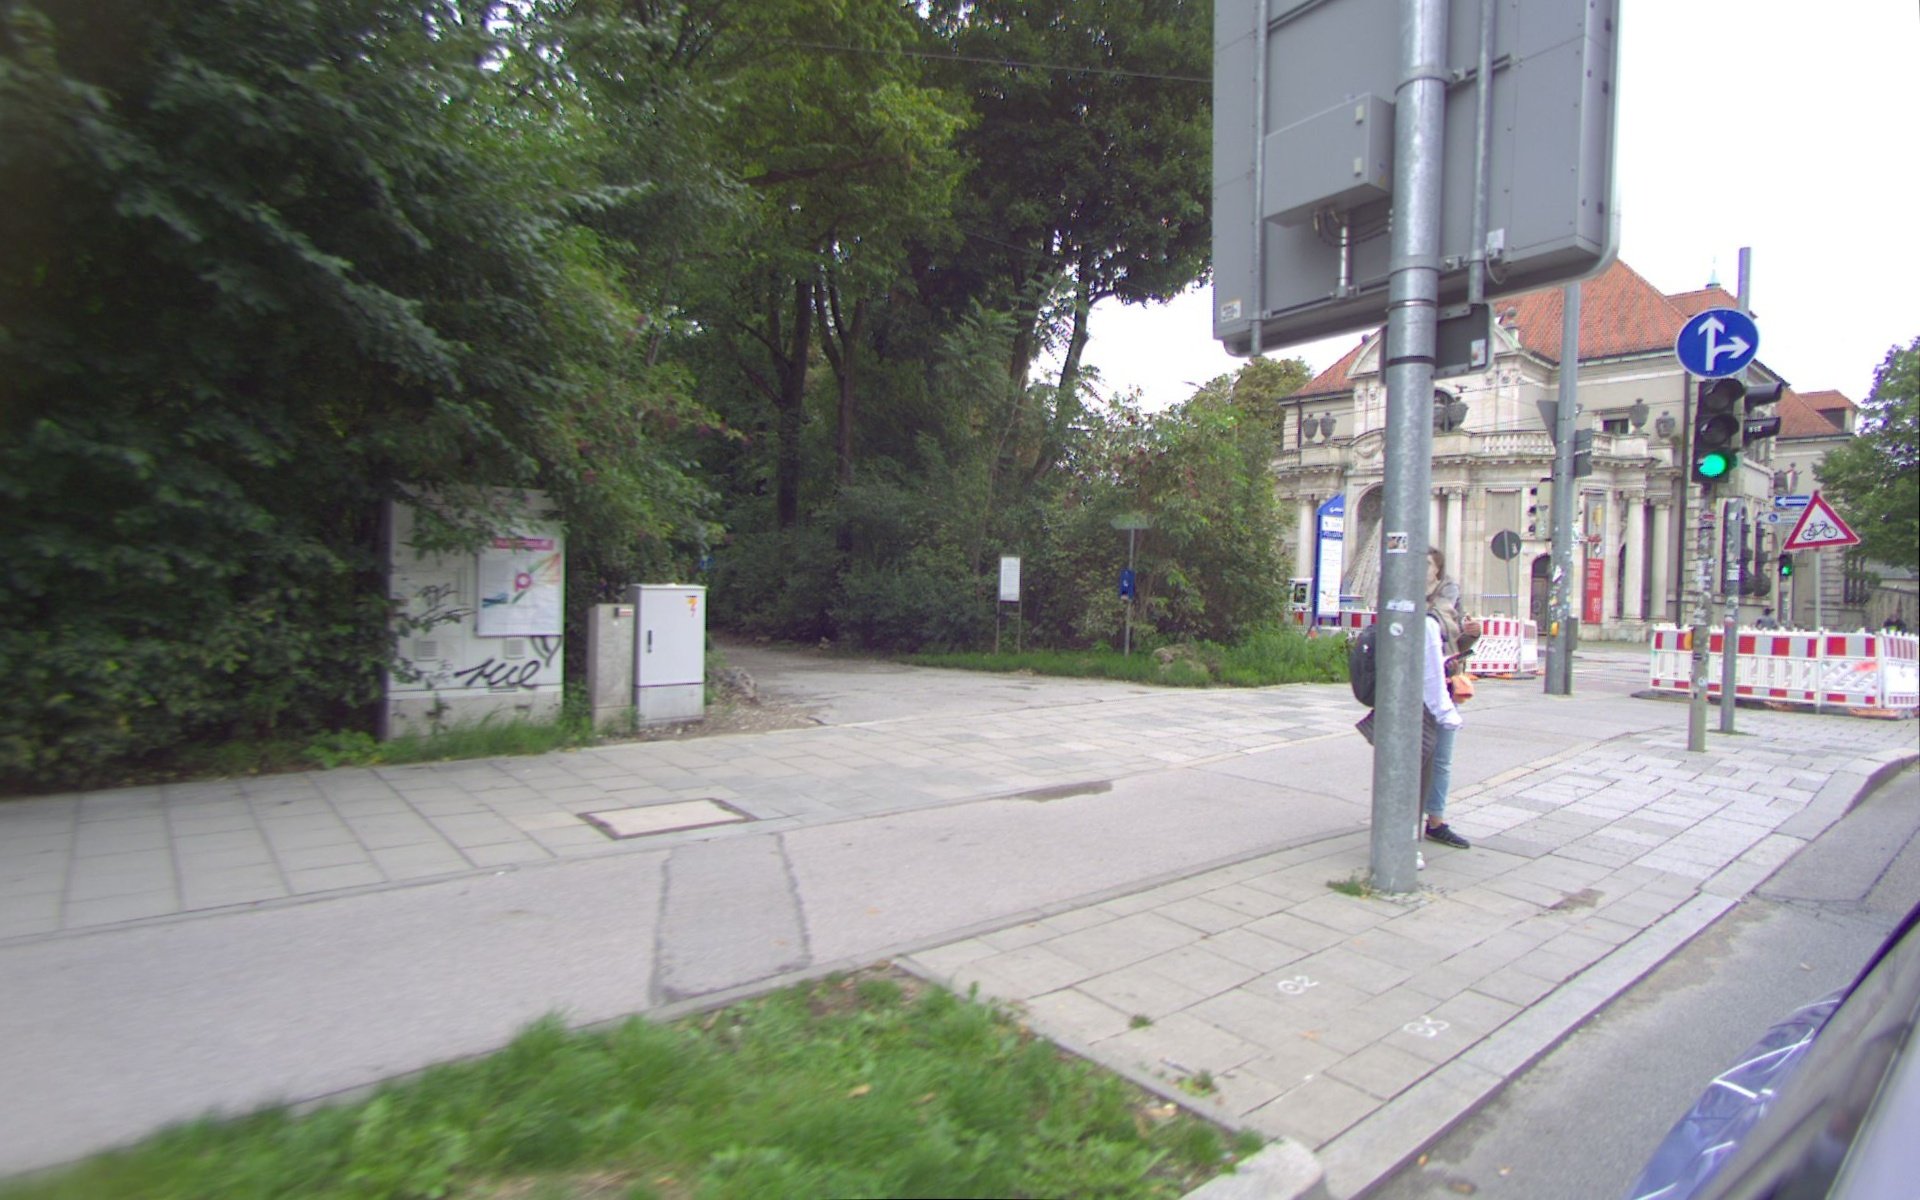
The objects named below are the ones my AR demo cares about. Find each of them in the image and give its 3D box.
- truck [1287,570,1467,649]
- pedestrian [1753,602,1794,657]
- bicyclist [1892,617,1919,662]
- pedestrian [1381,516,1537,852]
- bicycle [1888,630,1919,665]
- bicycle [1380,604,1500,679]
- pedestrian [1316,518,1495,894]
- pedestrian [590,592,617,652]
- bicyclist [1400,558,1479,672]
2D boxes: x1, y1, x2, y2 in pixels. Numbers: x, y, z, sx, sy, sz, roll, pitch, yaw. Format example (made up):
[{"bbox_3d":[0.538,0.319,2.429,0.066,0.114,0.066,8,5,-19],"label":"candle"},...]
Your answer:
[{"bbox_3d":[14.570,0.335,35.811,2.247,2.526,5.946,1,-1,-25],"label":"truck"},{"bbox_3d":[27.238,0.973,33.891,1.063,1.787,0.763,0,-1,41],"label":"pedestrian"},{"bbox_3d":[29.207,1.211,31.062,0.878,1.330,0.807,2,-1,-40],"label":"bicyclist"},{"bbox_3d":[2.865,0.444,5.804,0.609,1.783,0.625,1,-1,44],"label":"pedestrian"},{"bbox_3d":[29.098,1.426,30.966,2.021,1.020,0.829,1,-1,-41],"label":"bicycle"},{"bbox_3d":[7.371,0.616,15.507,2.122,1.071,0.740,1,-1,-36],"label":"bicycle"},{"bbox_3d":[2.309,0.501,5.244,0.625,1.783,0.625,2,0,-45],"label":"pedestrian"},{"bbox_3d":[-10.733,0.660,30.474,0.637,1.794,0.444,2,0,-40],"label":"pedestrian"},{"bbox_3d":[7.321,0.228,15.458,0.882,1.688,0.758,2,-1,-37],"label":"bicyclist"}]
